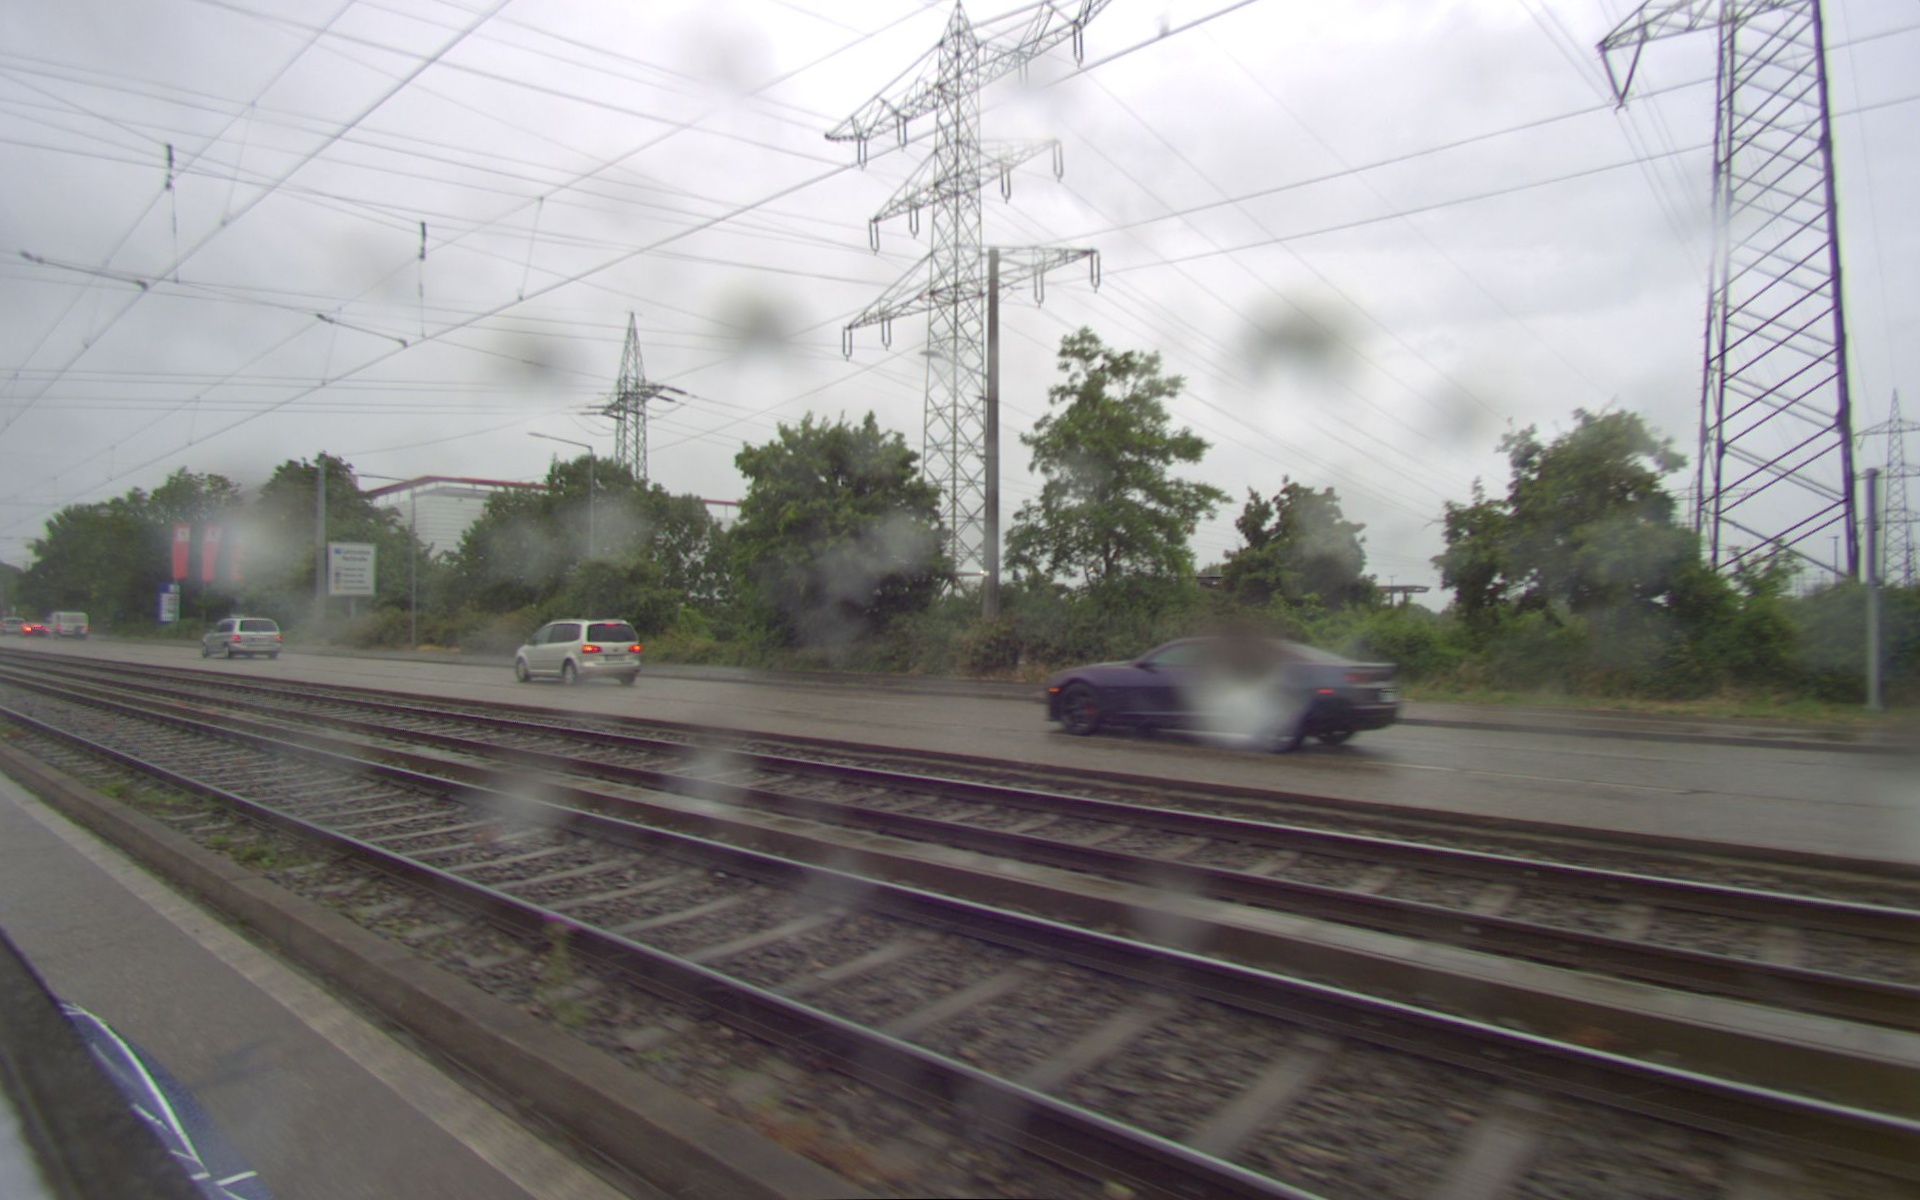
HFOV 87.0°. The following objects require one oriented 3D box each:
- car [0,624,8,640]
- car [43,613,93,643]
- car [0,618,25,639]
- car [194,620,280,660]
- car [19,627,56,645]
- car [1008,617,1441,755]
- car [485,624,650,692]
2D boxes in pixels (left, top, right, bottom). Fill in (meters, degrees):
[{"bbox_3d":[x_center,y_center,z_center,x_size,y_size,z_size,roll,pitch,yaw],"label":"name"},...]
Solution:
[{"bbox_3d":[-117.040,3.886,122.777,3.996,1.929,1.844,-2,-1,40],"label":"car"},{"bbox_3d":[-74.866,2.410,84.929,5.977,2.316,2.129,-2,-6,40],"label":"car"},{"bbox_3d":[-99.115,3.020,105.290,4.726,2.116,2.069,-2,-1,40],"label":"car"},{"bbox_3d":[-31.638,1.748,44.232,5.132,1.647,1.807,-2,-1,40],"label":"car"},{"bbox_3d":[-86.268,3.367,94.611,4.726,1.653,1.877,-2,-1,40],"label":"car"},{"bbox_3d":[3.263,1.057,13.388,5.251,1.475,1.971,-3,-5,43],"label":"car"},{"bbox_3d":[-10.355,1.491,26.497,5.061,1.586,1.824,-2,-1,40],"label":"car"}]
